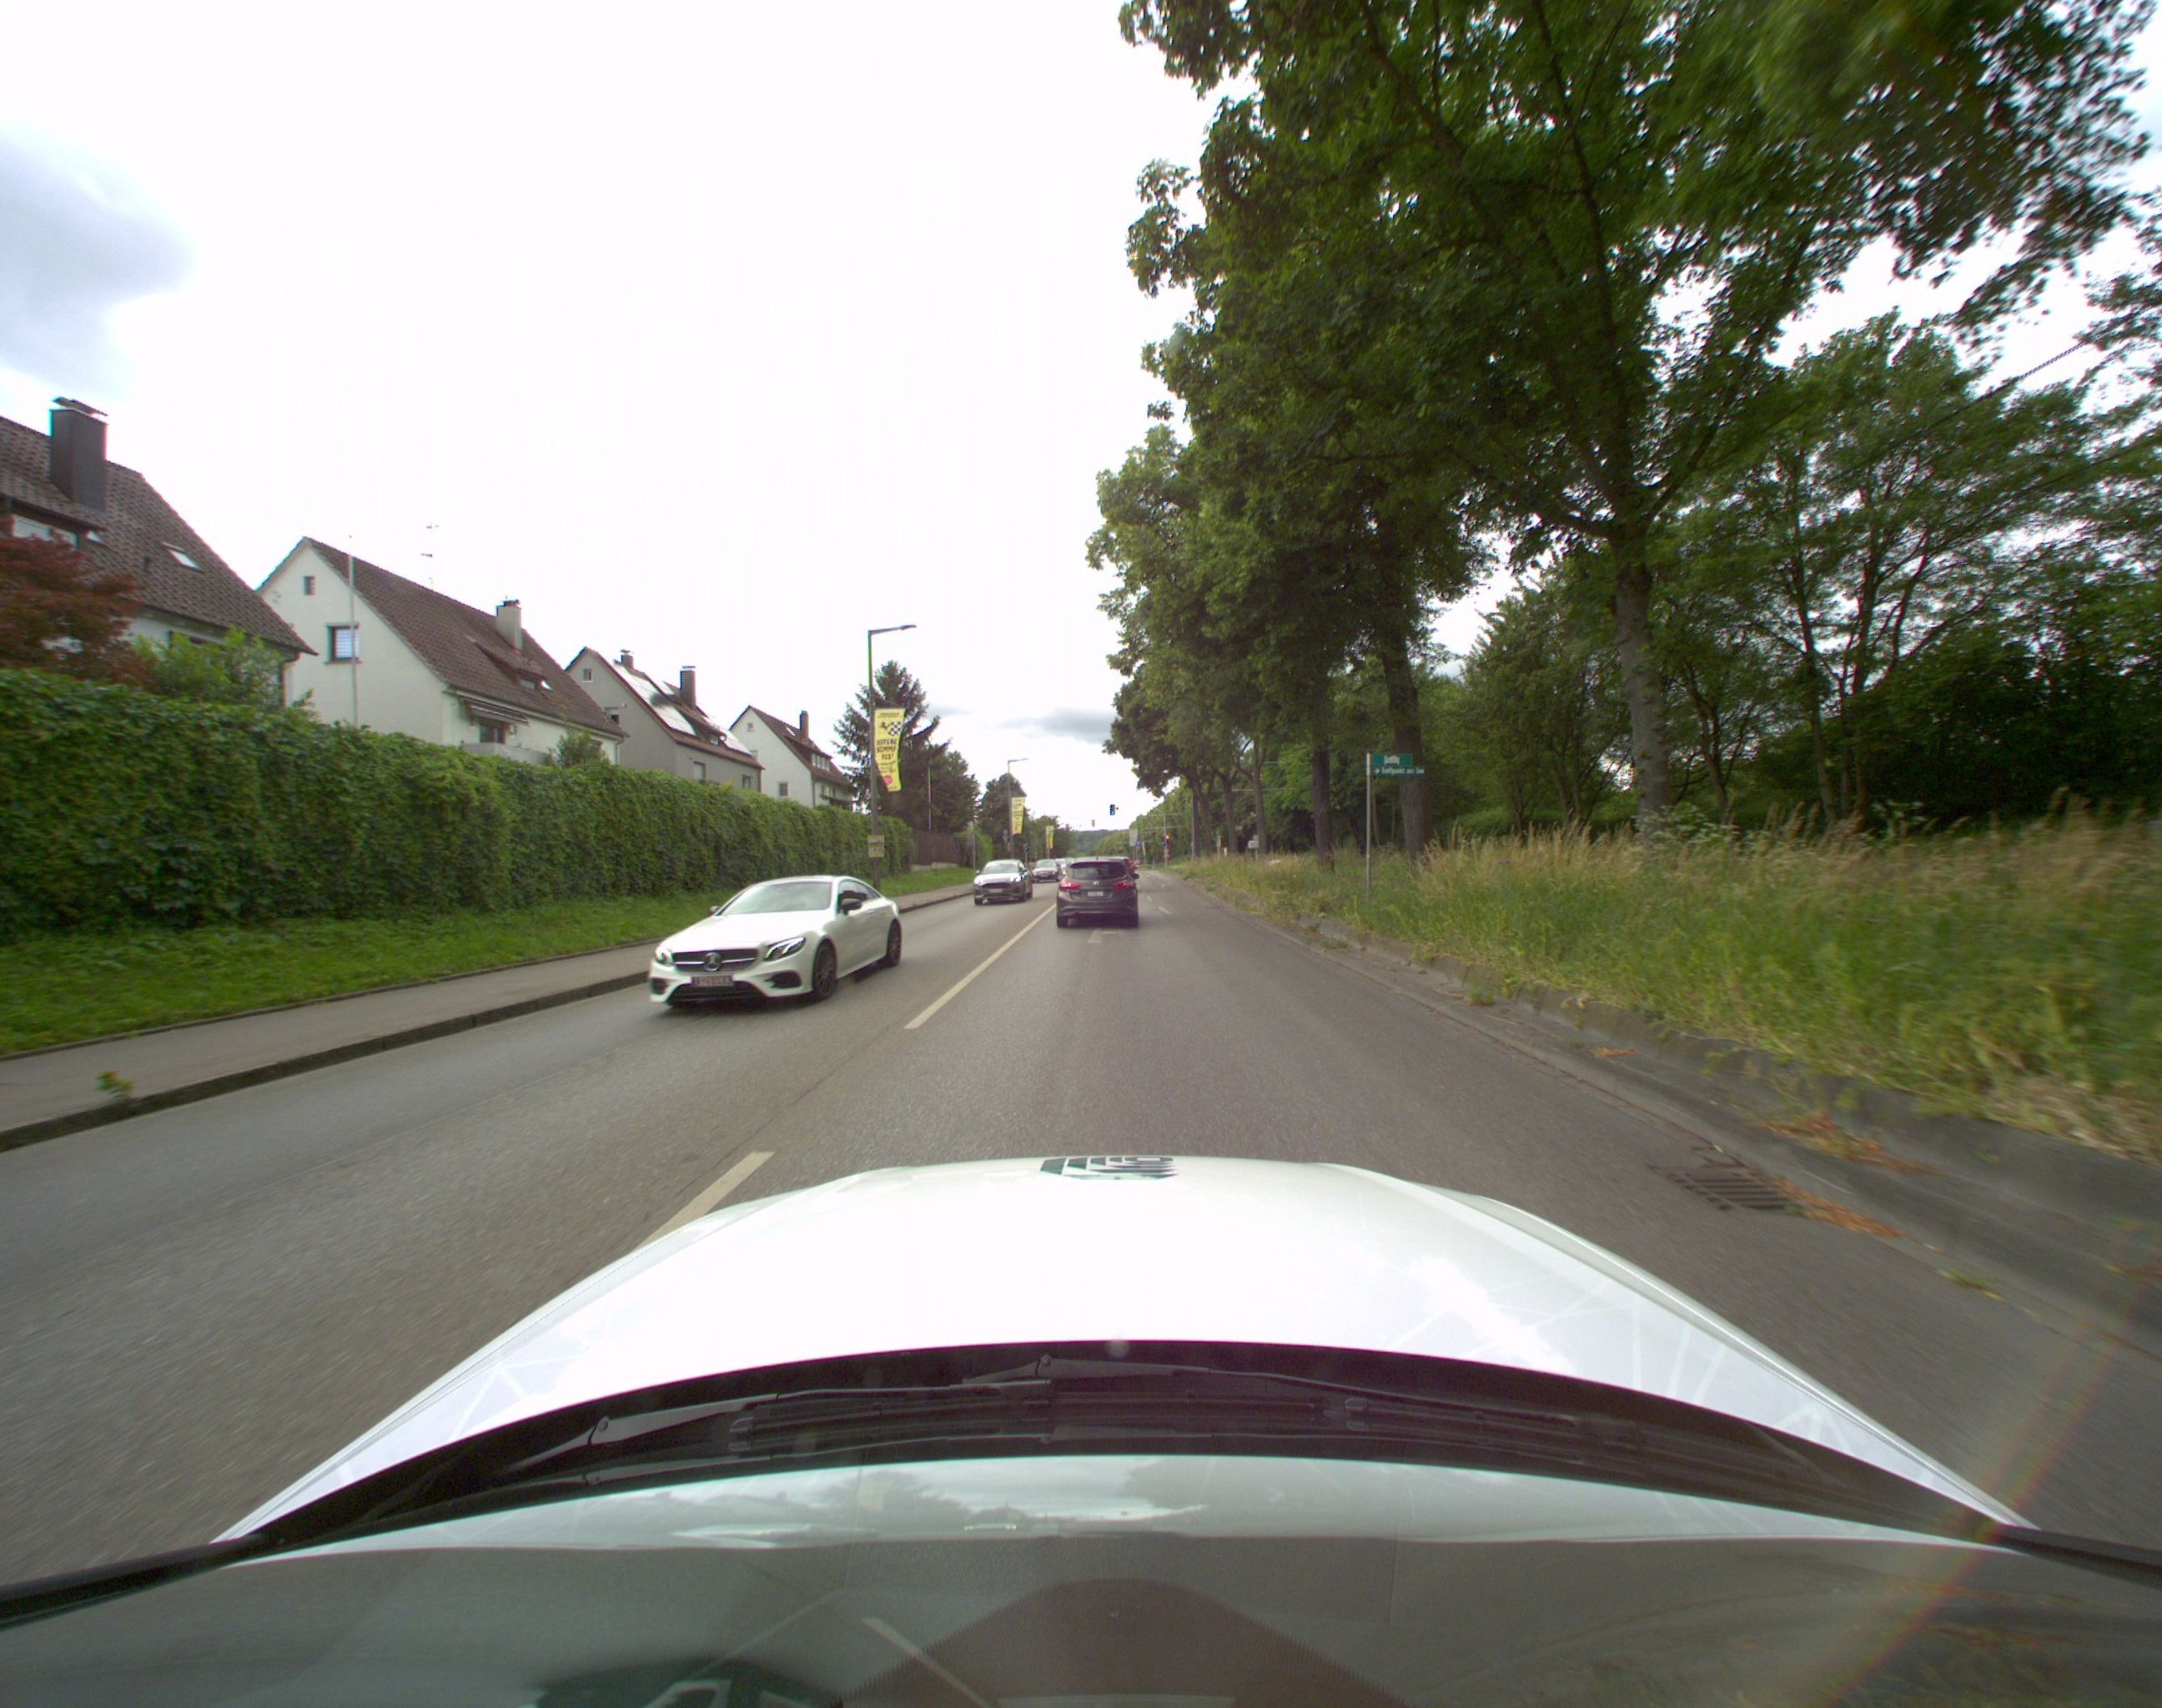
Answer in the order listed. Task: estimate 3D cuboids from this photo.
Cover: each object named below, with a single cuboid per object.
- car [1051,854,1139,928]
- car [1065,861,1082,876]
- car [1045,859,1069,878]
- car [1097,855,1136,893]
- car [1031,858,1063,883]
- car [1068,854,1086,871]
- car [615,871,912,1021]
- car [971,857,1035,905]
[{"bbox_3d":[0.392,0.760,19.121,1.828,1.519,4.485,0,0,2],"label":"car"},{"bbox_3d":[-0.857,1.672,95.031,1.806,1.524,4.177,-4,0,1],"label":"car"},{"bbox_3d":[-2.025,1.237,70.383,1.611,1.461,4.075,-5,0,3],"label":"car"},{"bbox_3d":[1.495,0.797,34.458,1.532,1.478,3.766,-2,0,2],"label":"car"},{"bbox_3d":[-2.229,1.031,53.722,1.721,1.464,4.155,-3,0,2],"label":"car"},{"bbox_3d":[-0.399,0.835,80.507,1.637,1.481,4.107,-4,0,1],"label":"car"},{"bbox_3d":[-3.783,1.009,10.739,1.878,1.383,4.494,-3,0,3],"label":"car"},{"bbox_3d":[-2.798,0.938,30.019,1.745,1.518,4.001,-4,0,1],"label":"car"}]
